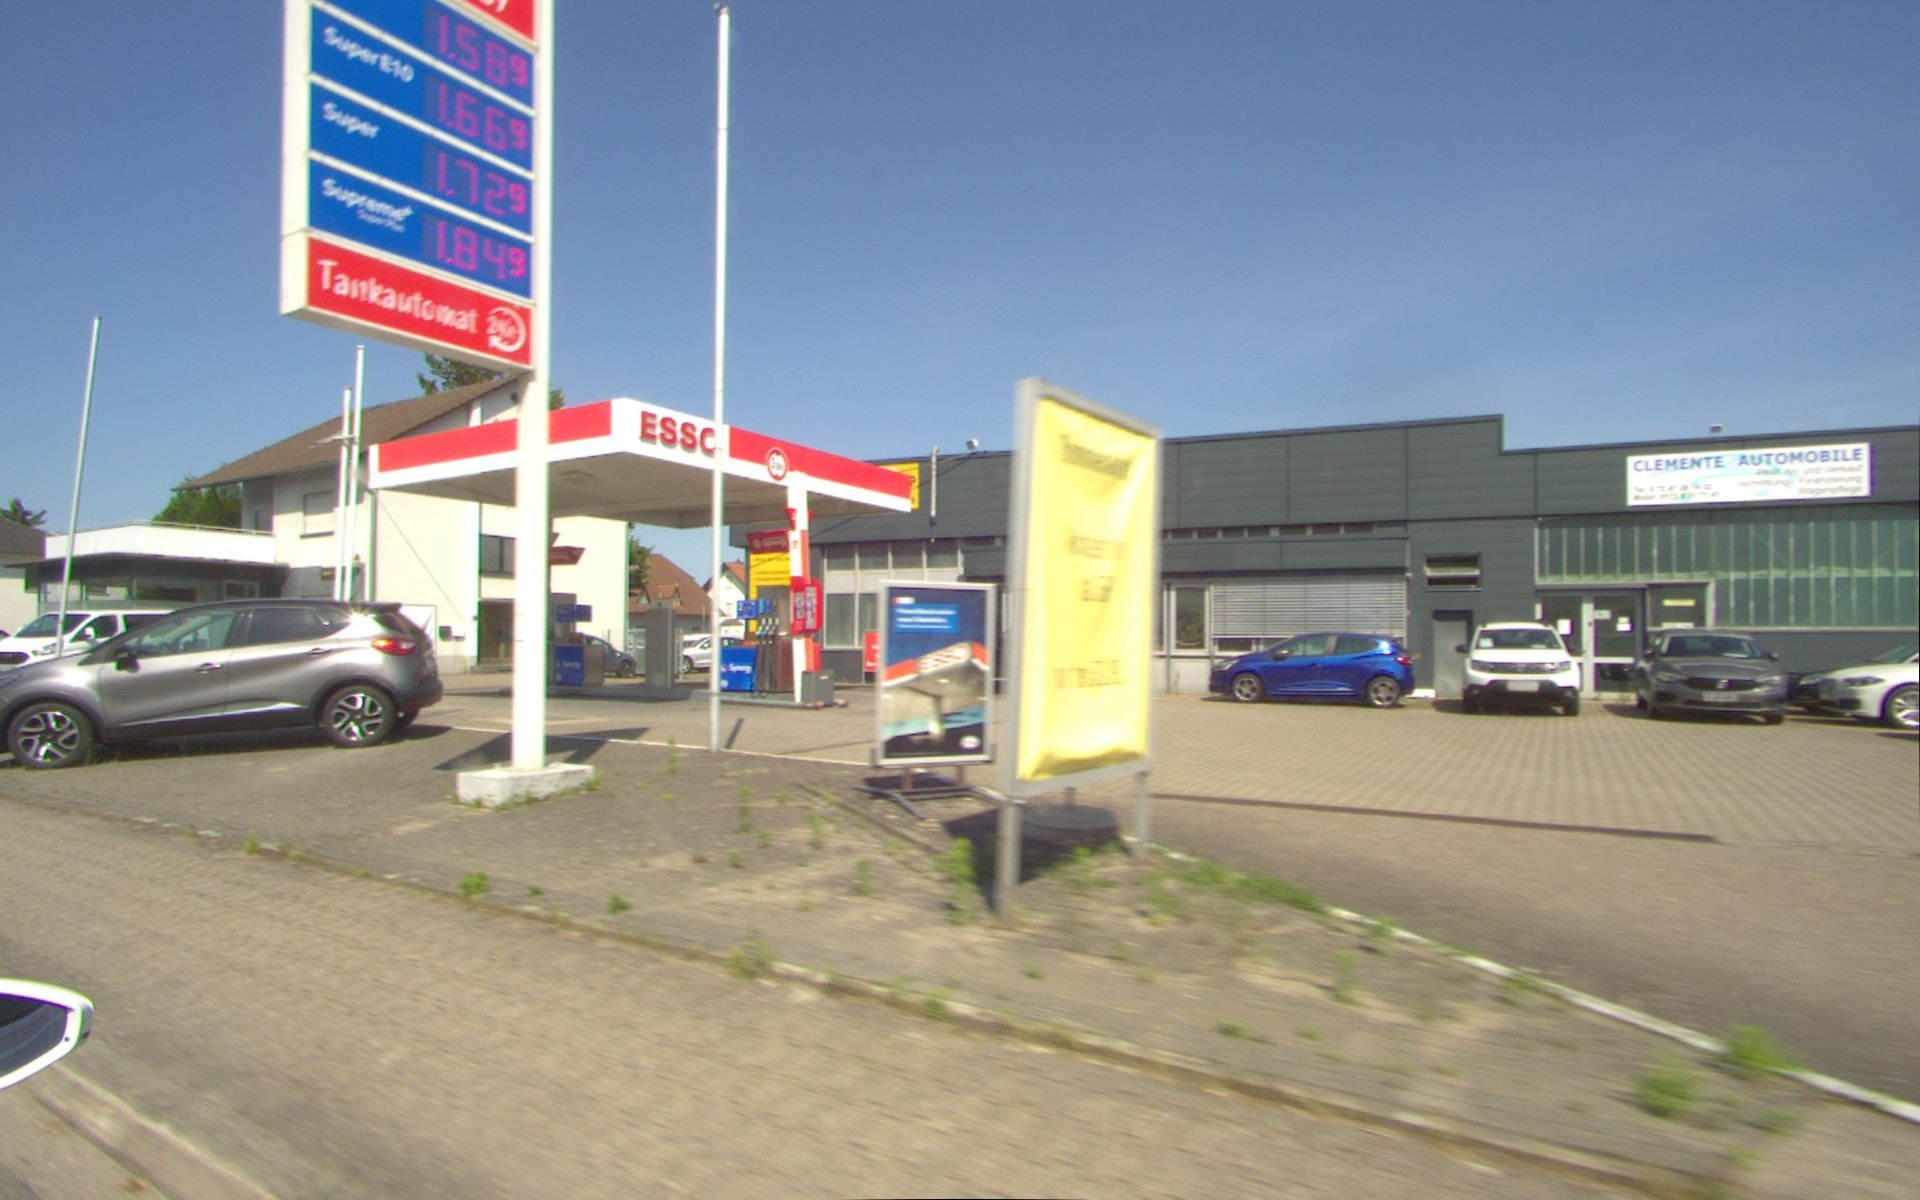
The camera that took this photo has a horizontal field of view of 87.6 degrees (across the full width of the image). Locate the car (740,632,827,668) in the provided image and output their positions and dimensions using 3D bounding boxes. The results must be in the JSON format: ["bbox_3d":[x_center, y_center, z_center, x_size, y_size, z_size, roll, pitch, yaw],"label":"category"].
[{"bbox_3d":[-7.457,2.158,42.542,1.783,1.392,3.621,-1,-4,28],"label":"car"}]

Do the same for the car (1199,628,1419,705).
[{"bbox_3d":[7.058,1.305,20.360,4.058,1.450,1.794,-1,-2,23],"label":"car"}]

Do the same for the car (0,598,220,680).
[{"bbox_3d":[-23.639,1.043,27.660,2.188,2.039,5.287,0,-1,5],"label":"car"}]

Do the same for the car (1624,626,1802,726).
[{"bbox_3d":[12.552,1.200,16.936,1.783,1.493,3.677,-1,-2,27],"label":"car"}]

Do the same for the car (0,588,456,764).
[{"bbox_3d":[-7.783,0.727,10.682,4.112,1.575,1.770,-1,-1,-22],"label":"car"}]

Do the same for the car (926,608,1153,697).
[{"bbox_3d":[1.790,1.138,22.487,4.735,1.763,1.807,1,-2,22],"label":"car"}]

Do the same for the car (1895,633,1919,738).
[{"bbox_3d":[14.473,1.098,12.317,3.936,1.404,1.841,-1,-2,26],"label":"car"}]

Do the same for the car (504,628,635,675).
[{"bbox_3d":[-13.368,1.740,34.536,1.783,1.498,4.060,-1,-2,28],"label":"car"}]

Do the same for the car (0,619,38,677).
[{"bbox_3d":[-26.757,1.275,26.109,1.947,1.570,4.315,0,-1,-10],"label":"car"}]

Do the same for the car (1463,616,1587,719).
[{"bbox_3d":[10.302,1.166,18.473,1.783,1.655,4.139,-1,-2,27],"label":"car"}]

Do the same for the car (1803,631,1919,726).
[{"bbox_3d":[15.672,1.158,14.991,4.306,1.404,1.841,-1,-2,26],"label":"car"}]

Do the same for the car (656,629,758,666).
[{"bbox_3d":[-11.271,2.152,44.618,4.023,1.497,1.801,4,-5,-34],"label":"car"}]
